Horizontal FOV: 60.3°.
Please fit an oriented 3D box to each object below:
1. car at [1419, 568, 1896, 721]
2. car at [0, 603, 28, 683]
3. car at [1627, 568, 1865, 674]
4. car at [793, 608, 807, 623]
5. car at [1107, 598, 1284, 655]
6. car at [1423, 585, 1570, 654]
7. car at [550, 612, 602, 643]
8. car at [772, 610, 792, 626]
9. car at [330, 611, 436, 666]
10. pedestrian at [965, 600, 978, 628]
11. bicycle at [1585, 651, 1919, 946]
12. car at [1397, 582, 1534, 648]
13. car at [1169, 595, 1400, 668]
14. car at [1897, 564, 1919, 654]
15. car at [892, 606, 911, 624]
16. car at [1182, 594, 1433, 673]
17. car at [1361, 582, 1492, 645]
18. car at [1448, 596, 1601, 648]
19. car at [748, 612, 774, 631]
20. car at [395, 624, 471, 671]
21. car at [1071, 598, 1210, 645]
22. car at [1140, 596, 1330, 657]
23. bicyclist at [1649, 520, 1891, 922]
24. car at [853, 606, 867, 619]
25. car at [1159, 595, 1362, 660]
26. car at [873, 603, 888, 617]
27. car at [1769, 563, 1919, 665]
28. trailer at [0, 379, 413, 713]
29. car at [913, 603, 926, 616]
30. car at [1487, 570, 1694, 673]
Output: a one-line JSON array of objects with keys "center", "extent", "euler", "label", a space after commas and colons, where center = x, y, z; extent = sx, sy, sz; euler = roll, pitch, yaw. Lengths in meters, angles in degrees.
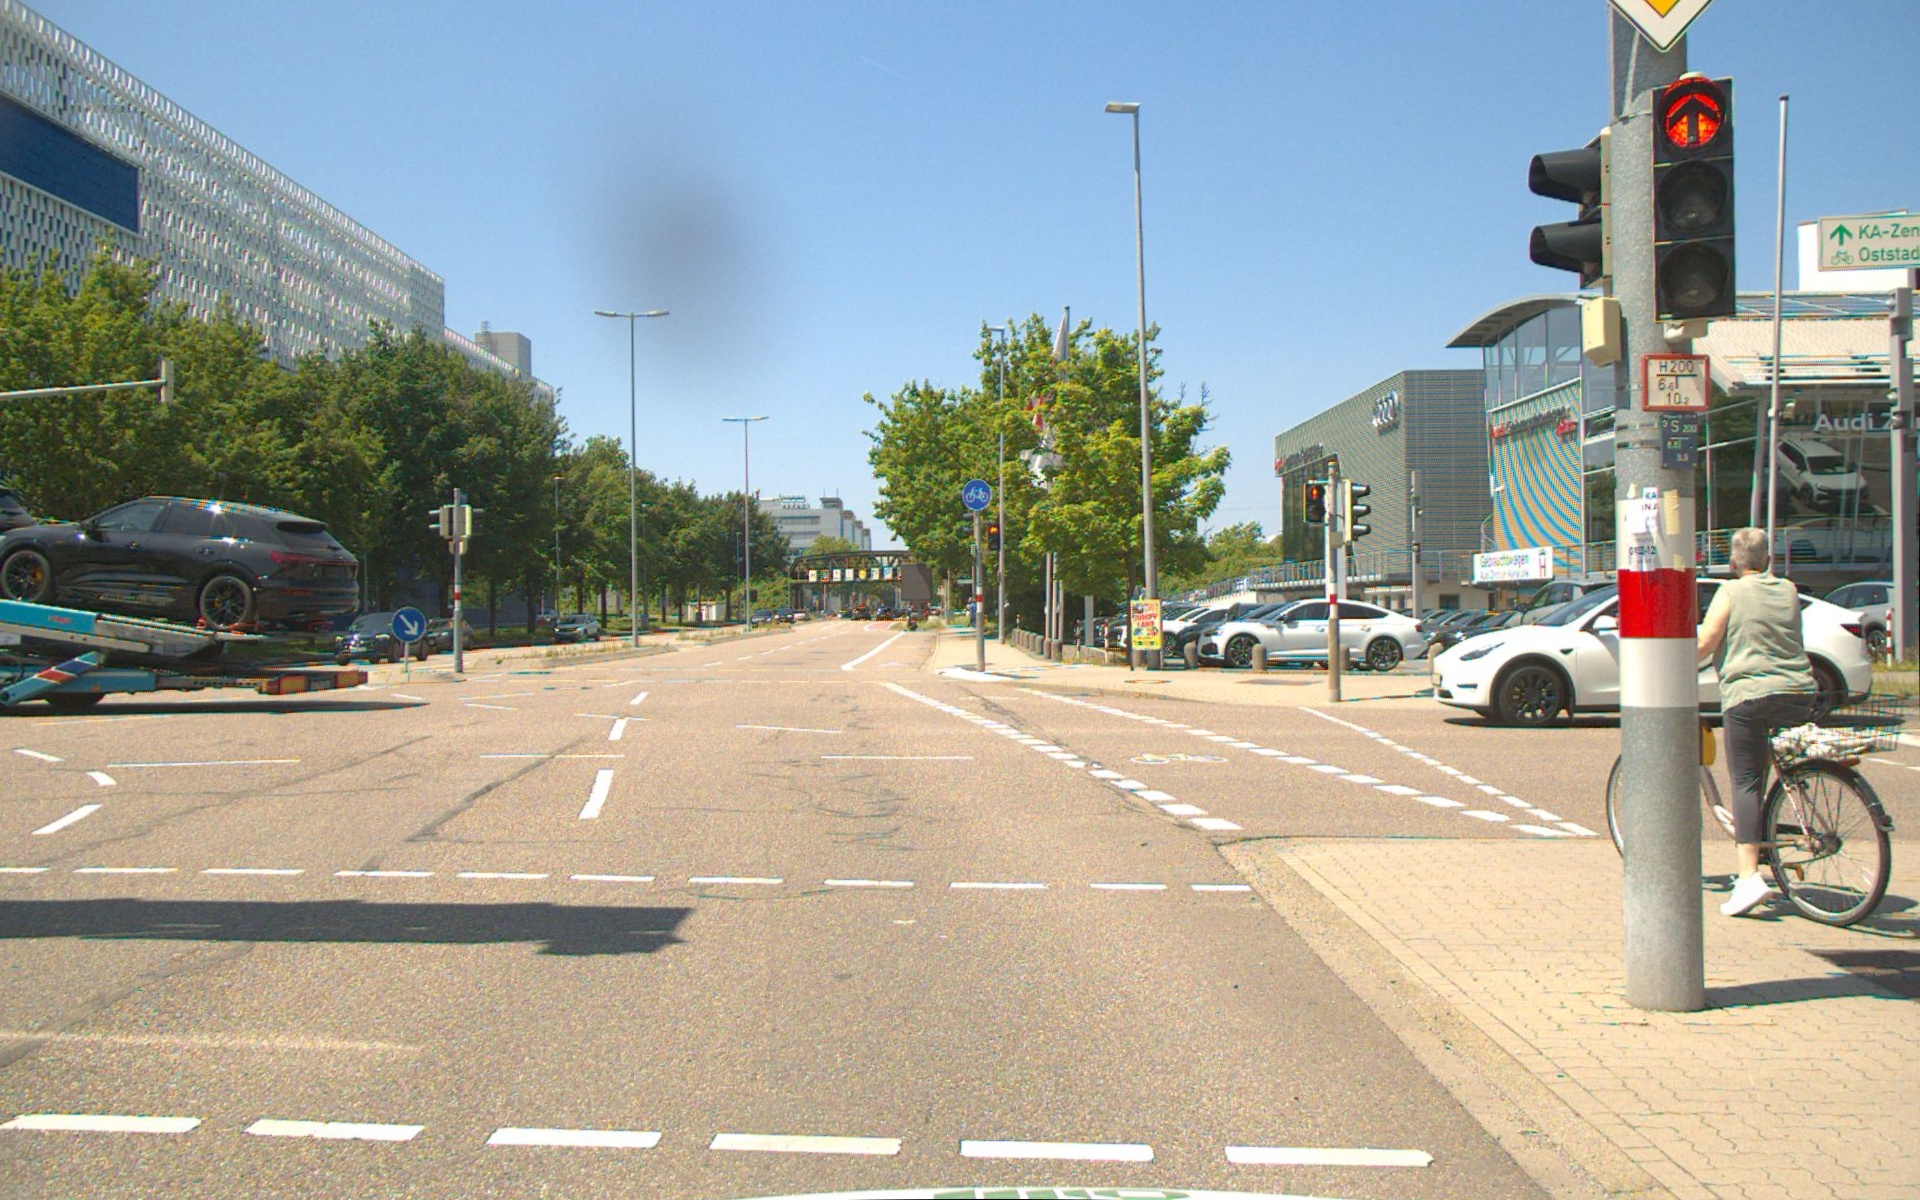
[{"center": [7.741, 0.495, 18.754], "extent": [4.581, 1.616, 2.001], "euler": [0, -1, 5], "label": "car"}, {"center": [-26.076, 1.124, 41.352], "extent": [1.952, 2.043, 4.766], "euler": [-1, -1, 18], "label": "car"}, {"center": [13.665, 0.318, 29.092], "extent": [1.953, 1.668, 4.557], "euler": [-1, 1, -1], "label": "car"}, {"center": [-19.168, 1.853, 198.194], "extent": [1.617, 1.682, 4.159], "euler": [-1, 0, -5], "label": "car"}, {"center": [6.598, 0.717, 46.623], "extent": [4.646, 1.482, 1.999], "euler": [-1, 0, -3], "label": "car"}, {"center": [16.754, 0.608, 51.785], "extent": [3.905, 2.049, 2.000], "euler": [-1, 0, 0], "label": "car"}, {"center": [-22.288, 1.595, 96.097], "extent": [1.886, 1.694, 4.089], "euler": [-1, -1, 2], "label": "car"}, {"center": [-17.381, 1.756, 161.557], "extent": [1.650, 1.436, 3.664], "euler": [-1, -1, -1], "label": "car"}, {"center": [-18.324, 1.199, 52.717], "extent": [1.837, 1.626, 4.495], "euler": [-1, -1, -1], "label": "car"}, {"center": [0.637, 0.762, 89.861], "extent": [0.654, 1.537, 0.736], "euler": [-1, 0, -1], "label": "pedestrian"}, {"center": [3.778, 0.854, 7.856], "extent": [0.771, 1.147, 1.919], "euler": [0, 0, -4], "label": "bicycle"}, {"center": [16.642, 0.490, 54.600], "extent": [3.905, 2.049, 2.000], "euler": [-1, 0, 0], "label": "car"}, {"center": [6.999, 0.679, 36.002], "extent": [4.643, 1.482, 2.000], "euler": [-1, -1, 1], "label": "car"}, {"center": [18.825, 0.162, 29.260], "extent": [1.847, 1.668, 4.524], "euler": [-1, 1, -1], "label": "car"}, {"center": [-3.710, 0.946, 105.343], "extent": [1.114, 1.060, 2.308], "euler": [-1, 0, -1], "label": "car"}, {"center": [6.925, 0.653, 33.329], "extent": [4.643, 1.482, 2.000], "euler": [-1, 0, 1], "label": "car"}, {"center": [15.948, 0.460, 56.697], "extent": [3.905, 2.049, 2.000], "euler": [-1, 0, 0], "label": "car"}, {"center": [16.839, 0.642, 49.444], "extent": [4.008, 1.486, 1.719], "euler": [-1, 0, 0], "label": "car"}, {"center": [-16.731, 1.810, 139.140], "extent": [1.697, 1.452, 3.705], "euler": [-3, -1, -1], "label": "car"}, {"center": [-23.788, 2.174, 74.784], "extent": [1.952, 2.049, 4.001], "euler": [-1, -2, 3], "label": "car"}, {"center": [6.415, 0.742, 59.027], "extent": [4.646, 1.482, 1.999], "euler": [-2, 0, -3], "label": "car"}, {"center": [7.241, 0.685, 43.863], "extent": [4.646, 1.482, 1.999], "euler": [-1, 0, -3], "label": "car"}, {"center": [3.761, 0.535, 7.729], "extent": [0.719, 1.779, 0.753], "euler": [0, 0, -5], "label": "bicyclist"}, {"center": [-13.557, 1.667, 223.937], "extent": [1.736, 1.758, 3.999], "euler": [-1, -1, -1], "label": "car"}, {"center": [7.316, 0.664, 40.596], "extent": [4.643, 1.482, 2.000], "euler": [-1, 0, 1], "label": "car"}, {"center": [-10.570, 1.349, 219.842], "extent": [1.736, 1.758, 3.999], "euler": [-1, -1, -1], "label": "car"}, {"center": [16.458, 0.191, 29.375], "extent": [1.953, 1.668, 4.440], "euler": [-1, 1, -1], "label": "car"}, {"center": [-12.684, -0.645, 22.698], "extent": [9.407, 4.153, 3.097], "euler": [0, -1, 7], "label": "trailer"}, {"center": [-5.418, 1.254, 220.702], "extent": [1.736, 1.758, 3.999], "euler": [-1, -1, -1], "label": "car"}, {"center": [11.014, 0.333, 29.237], "extent": [1.953, 1.668, 4.268], "euler": [-1, 0, -1], "label": "car"}]
